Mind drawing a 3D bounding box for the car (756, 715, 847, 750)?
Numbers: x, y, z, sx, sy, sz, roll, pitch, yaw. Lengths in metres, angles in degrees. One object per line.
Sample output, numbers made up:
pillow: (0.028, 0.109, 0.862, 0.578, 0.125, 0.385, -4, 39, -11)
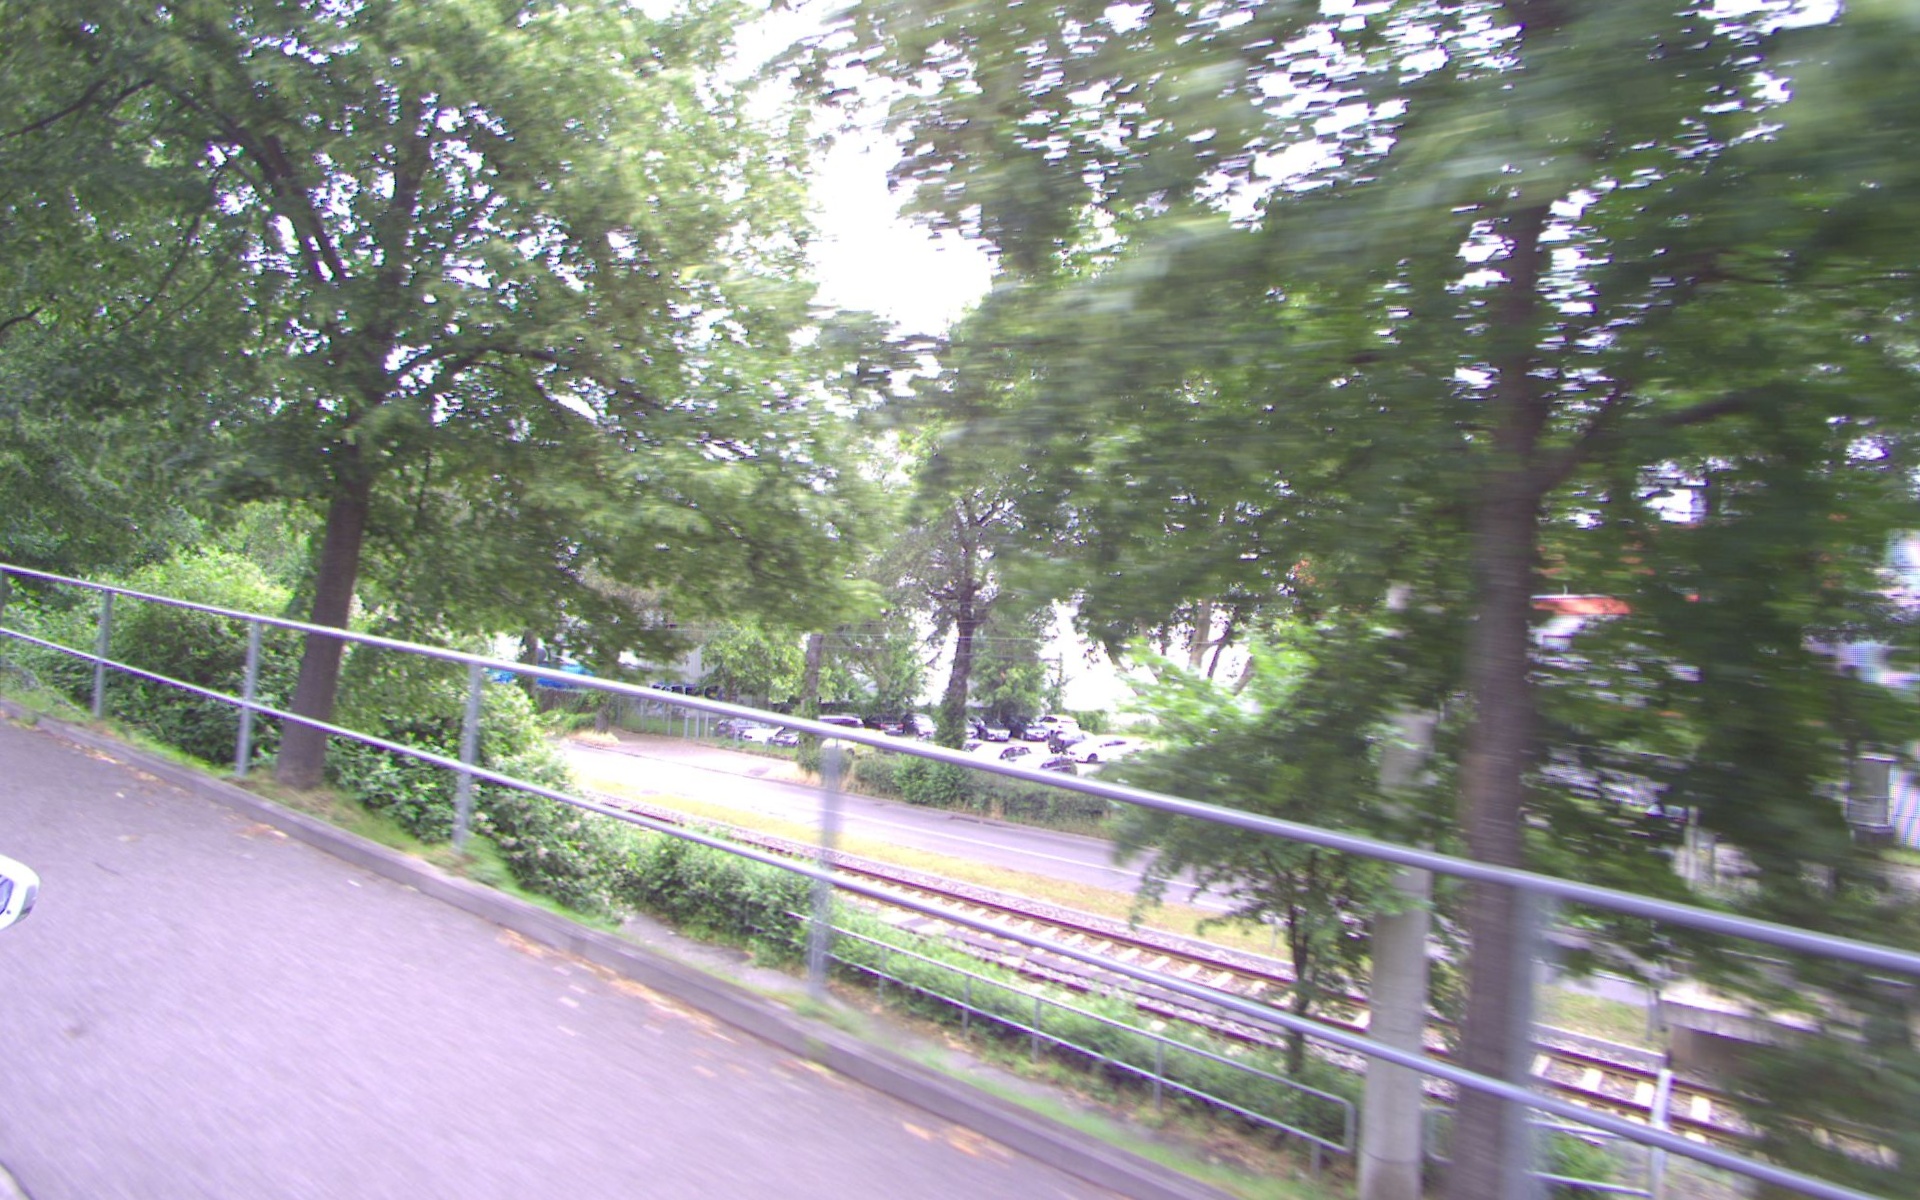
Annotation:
car: (-8.081, 6.760, 51.503, 1.972, 1.485, 4.326, 4, -3, 39)

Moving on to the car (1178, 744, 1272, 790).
car: (12.683, 7.981, 48.380, 1.974, 1.485, 4.320, 6, -2, -25)

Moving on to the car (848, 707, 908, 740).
car: (-5.163, 7.699, 63.037, 1.978, 1.485, 4.313, 6, -2, -30)

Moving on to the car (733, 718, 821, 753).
car: (-9.554, 7.078, 52.837, 1.800, 1.523, 4.326, 4, -3, 39)

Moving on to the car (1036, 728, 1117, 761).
car: (6.837, 8.464, 58.827, 4.294, 1.485, 1.986, 7, -2, -30)

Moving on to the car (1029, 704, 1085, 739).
car: (6.572, 8.219, 68.484, 1.973, 1.832, 3.981, 6, -2, -23)

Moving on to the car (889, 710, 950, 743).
car: (-2.612, 8.028, 64.119, 1.978, 1.485, 4.313, 6, -2, -30)

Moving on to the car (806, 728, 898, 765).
car: (-5.301, 7.224, 49.856, 1.972, 1.485, 4.326, 4, -3, 39)

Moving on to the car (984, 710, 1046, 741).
car: (3.601, 8.326, 66.838, 1.978, 1.485, 4.313, 6, -2, -30)

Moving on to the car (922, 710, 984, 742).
car: (-0.483, 8.062, 64.652, 1.978, 1.485, 4.313, 6, -2, -30)

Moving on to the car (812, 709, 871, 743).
car: (-7.362, 7.773, 62.147, 1.978, 1.485, 4.313, 6, -2, -30)

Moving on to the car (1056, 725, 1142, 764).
car: (7.809, 8.119, 56.445, 4.288, 1.737, 1.989, 7, -2, -25)

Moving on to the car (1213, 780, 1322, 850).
car: (11.015, 7.573, 35.823, 1.972, 1.813, 4.562, 4, -3, 40)
